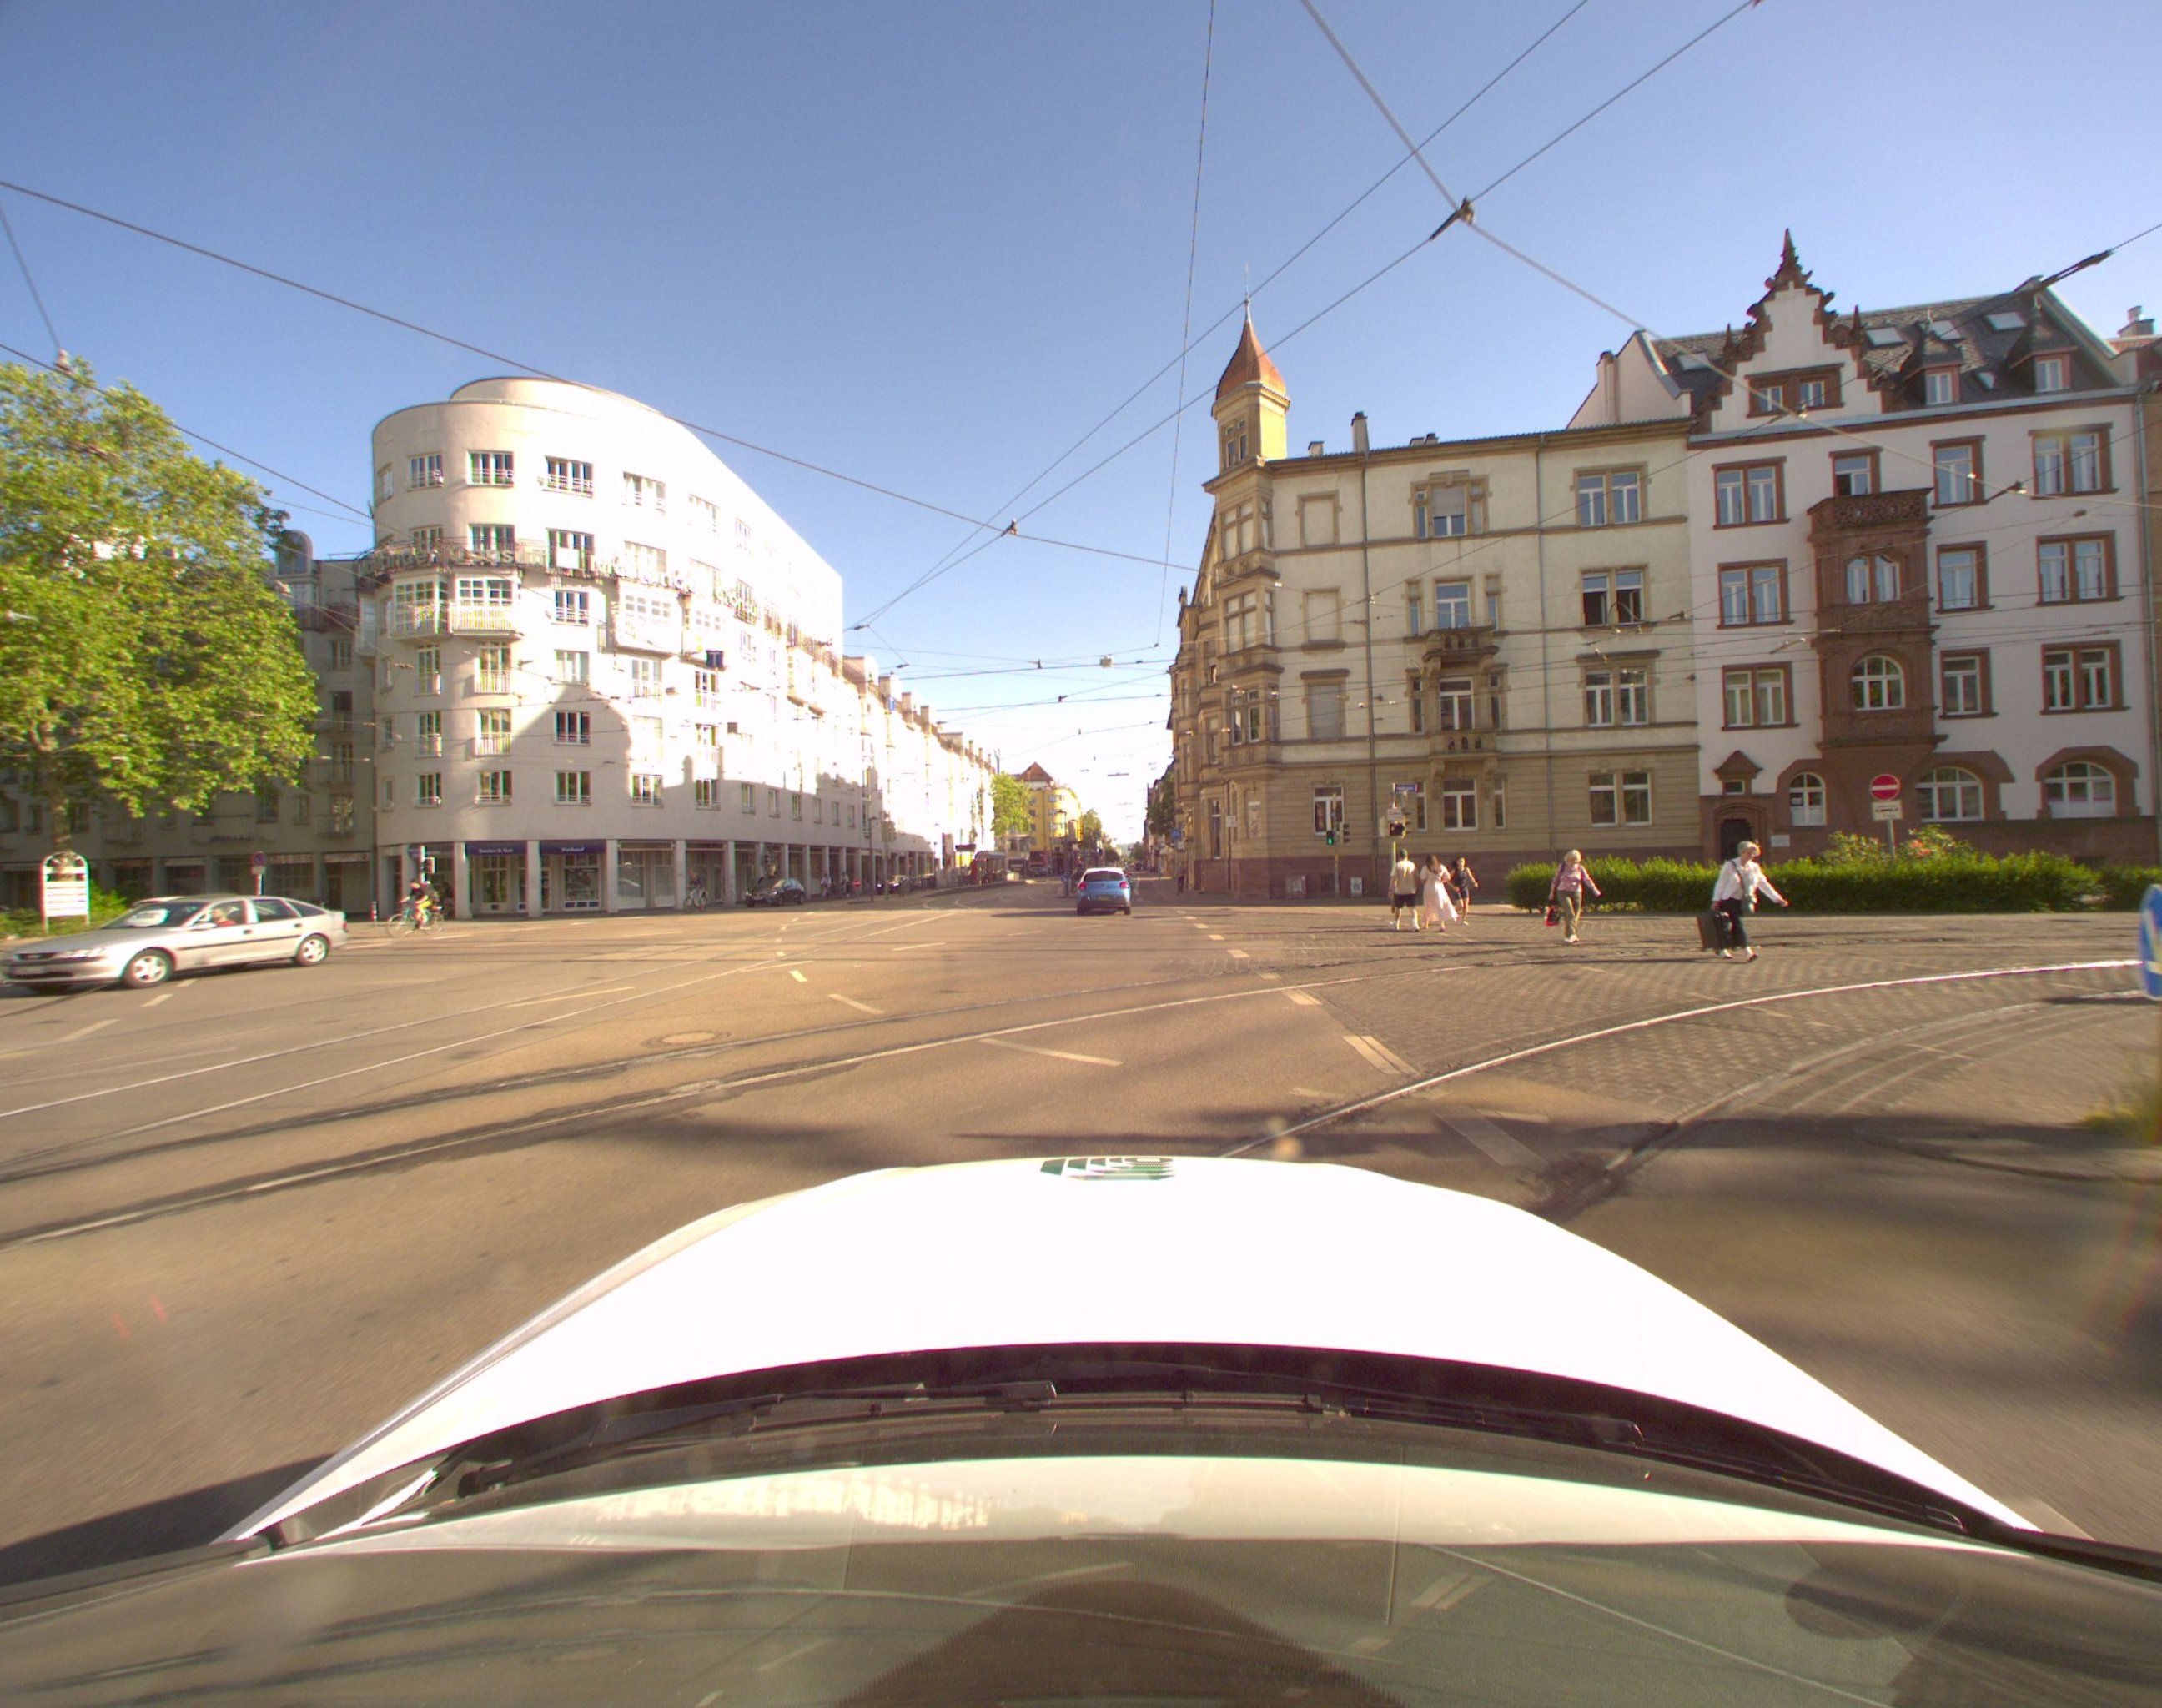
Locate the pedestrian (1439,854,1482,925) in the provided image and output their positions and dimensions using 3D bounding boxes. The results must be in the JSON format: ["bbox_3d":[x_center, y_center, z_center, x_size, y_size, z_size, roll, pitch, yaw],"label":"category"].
[{"bbox_3d":[8.485,0.780,18.196,0.626,1.538,0.948,-4,-3,35],"label":"pedestrian"}]

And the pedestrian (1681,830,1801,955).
[{"bbox_3d":[9.065,0.529,11.242,0.915,1.632,1.014,-3,-3,19],"label":"pedestrian"}]

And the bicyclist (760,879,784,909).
[{"bbox_3d":[-17.916,2.337,47.272,0.715,1.696,1.036,-3,-2,32],"label":"bicyclist"}]

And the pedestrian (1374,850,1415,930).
[{"bbox_3d":[6.671,0.759,17.338,0.694,1.655,0.635,-3,-3,25],"label":"pedestrian"}]

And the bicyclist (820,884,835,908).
[{"bbox_3d":[-15.897,2.613,51.120,0.586,1.488,0.928,-2,-2,1],"label":"bicyclist"}]

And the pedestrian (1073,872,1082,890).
[{"bbox_3d":[-0.320,2.290,69.476,0.579,1.562,0.472,-3,-2,39],"label":"pedestrian"}]

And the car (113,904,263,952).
[{"bbox_3d":[-34.913,2.843,32.023,1.798,1.403,4.088,-1,1,-10],"label":"car"}]

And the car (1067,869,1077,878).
[{"bbox_3d":[-1.888,4.146,172.055,1.985,1.743,4.004,0,-2,4],"label":"car"}]

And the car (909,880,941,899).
[{"bbox_3d":[-13.695,3.100,71.523,1.721,1.515,4.407,-2,-1,3],"label":"car"}]

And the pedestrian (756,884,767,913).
[{"bbox_3d":[-17.706,2.458,45.145,0.444,1.534,0.676,-1,0,-33],"label":"pedestrian"}]

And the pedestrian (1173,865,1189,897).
[{"bbox_3d":[5.797,1.551,47.032,0.777,1.750,1.093,-1,0,1],"label":"pedestrian"}]

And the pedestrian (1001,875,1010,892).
[{"bbox_3d":[-7.177,2.821,77.654,0.728,1.559,0.743,-1,-1,2],"label":"pedestrian"}]

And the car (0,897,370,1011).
[{"bbox_3d":[-15.537,1.597,14.241,1.986,1.451,4.652,-2,-1,2],"label":"car"}]

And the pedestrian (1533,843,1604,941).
[{"bbox_3d":[8.492,0.656,14.183,0.913,1.632,0.948,-4,-3,35],"label":"pedestrian"}]

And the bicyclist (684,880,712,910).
[{"bbox_3d":[-16.950,1.825,36.052,0.583,1.285,0.997,-3,-3,22],"label":"bicyclist"}]

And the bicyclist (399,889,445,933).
[{"bbox_3d":[-19.633,1.686,24.264,0.586,1.285,0.928,-2,-2,4],"label":"bicyclist"}]

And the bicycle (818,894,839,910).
[{"bbox_3d":[-15.863,3.018,51.224,0.591,0.972,2.012,-2,-2,2],"label":"bicycle"}]

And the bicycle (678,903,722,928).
[{"bbox_3d":[-16.876,2.717,36.144,0.589,0.972,1.864,-3,-2,21],"label":"bicycle"}]

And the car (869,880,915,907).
[{"bbox_3d":[-14.491,3.001,62.714,2.218,1.911,4.612,-2,-1,3],"label":"car"}]

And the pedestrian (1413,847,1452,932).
[{"bbox_3d":[7.382,0.738,17.118,0.638,1.745,0.708,-1,-2,16],"label":"pedestrian"}]

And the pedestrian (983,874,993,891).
[{"bbox_3d":[-8.368,2.557,73.174,0.728,1.527,0.743,-1,-1,2],"label":"pedestrian"}]

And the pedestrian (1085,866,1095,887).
[{"bbox_3d":[0.728,1.795,64.972,0.632,1.698,0.936,-1,-2,11],"label":"pedestrian"}]

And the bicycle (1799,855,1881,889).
[{"bbox_3d":[27.324,0.650,29.357,2.172,1.174,0.527,-2,-2,11],"label":"bicycle"}]

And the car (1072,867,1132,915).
[{"bbox_3d":[0.748,1.157,26.518,1.773,1.451,3.658,0,-1,4],"label":"car"}]

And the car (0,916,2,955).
[{"bbox_3d":[-41.395,3.017,28.992,3.973,1.403,1.807,-1,0,7],"label":"car"}]

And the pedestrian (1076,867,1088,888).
[{"bbox_3d":[0.072,1.995,69.735,0.710,1.777,0.569,-3,-2,39],"label":"pedestrian"}]

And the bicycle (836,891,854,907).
[{"bbox_3d":[-15.946,3.034,55.087,0.591,0.972,2.048,-2,-2,2],"label":"bicycle"}]

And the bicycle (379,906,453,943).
[{"bbox_3d":[-19.677,2.078,24.155,0.591,0.972,1.819,-2,-2,4],"label":"bicycle"}]

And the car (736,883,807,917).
[{"bbox_3d":[-15.845,2.342,41.957,1.986,1.596,4.001,-2,-2,2],"label":"car"}]

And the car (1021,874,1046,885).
[{"bbox_3d":[-7.948,4.286,136.963,3.974,1.674,1.957,-2,-1,0],"label":"car"}]

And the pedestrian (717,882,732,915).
[{"bbox_3d":[-20.223,2.532,46.167,0.458,1.832,0.746,-1,0,2],"label":"pedestrian"}]

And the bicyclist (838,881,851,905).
[{"bbox_3d":[-15.954,2.624,54.985,0.586,1.585,0.896,-2,-2,1],"label":"bicyclist"}]

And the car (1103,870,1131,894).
[{"bbox_3d":[2.741,2.125,60.880,1.985,1.743,4.004,0,-2,4],"label":"car"}]
